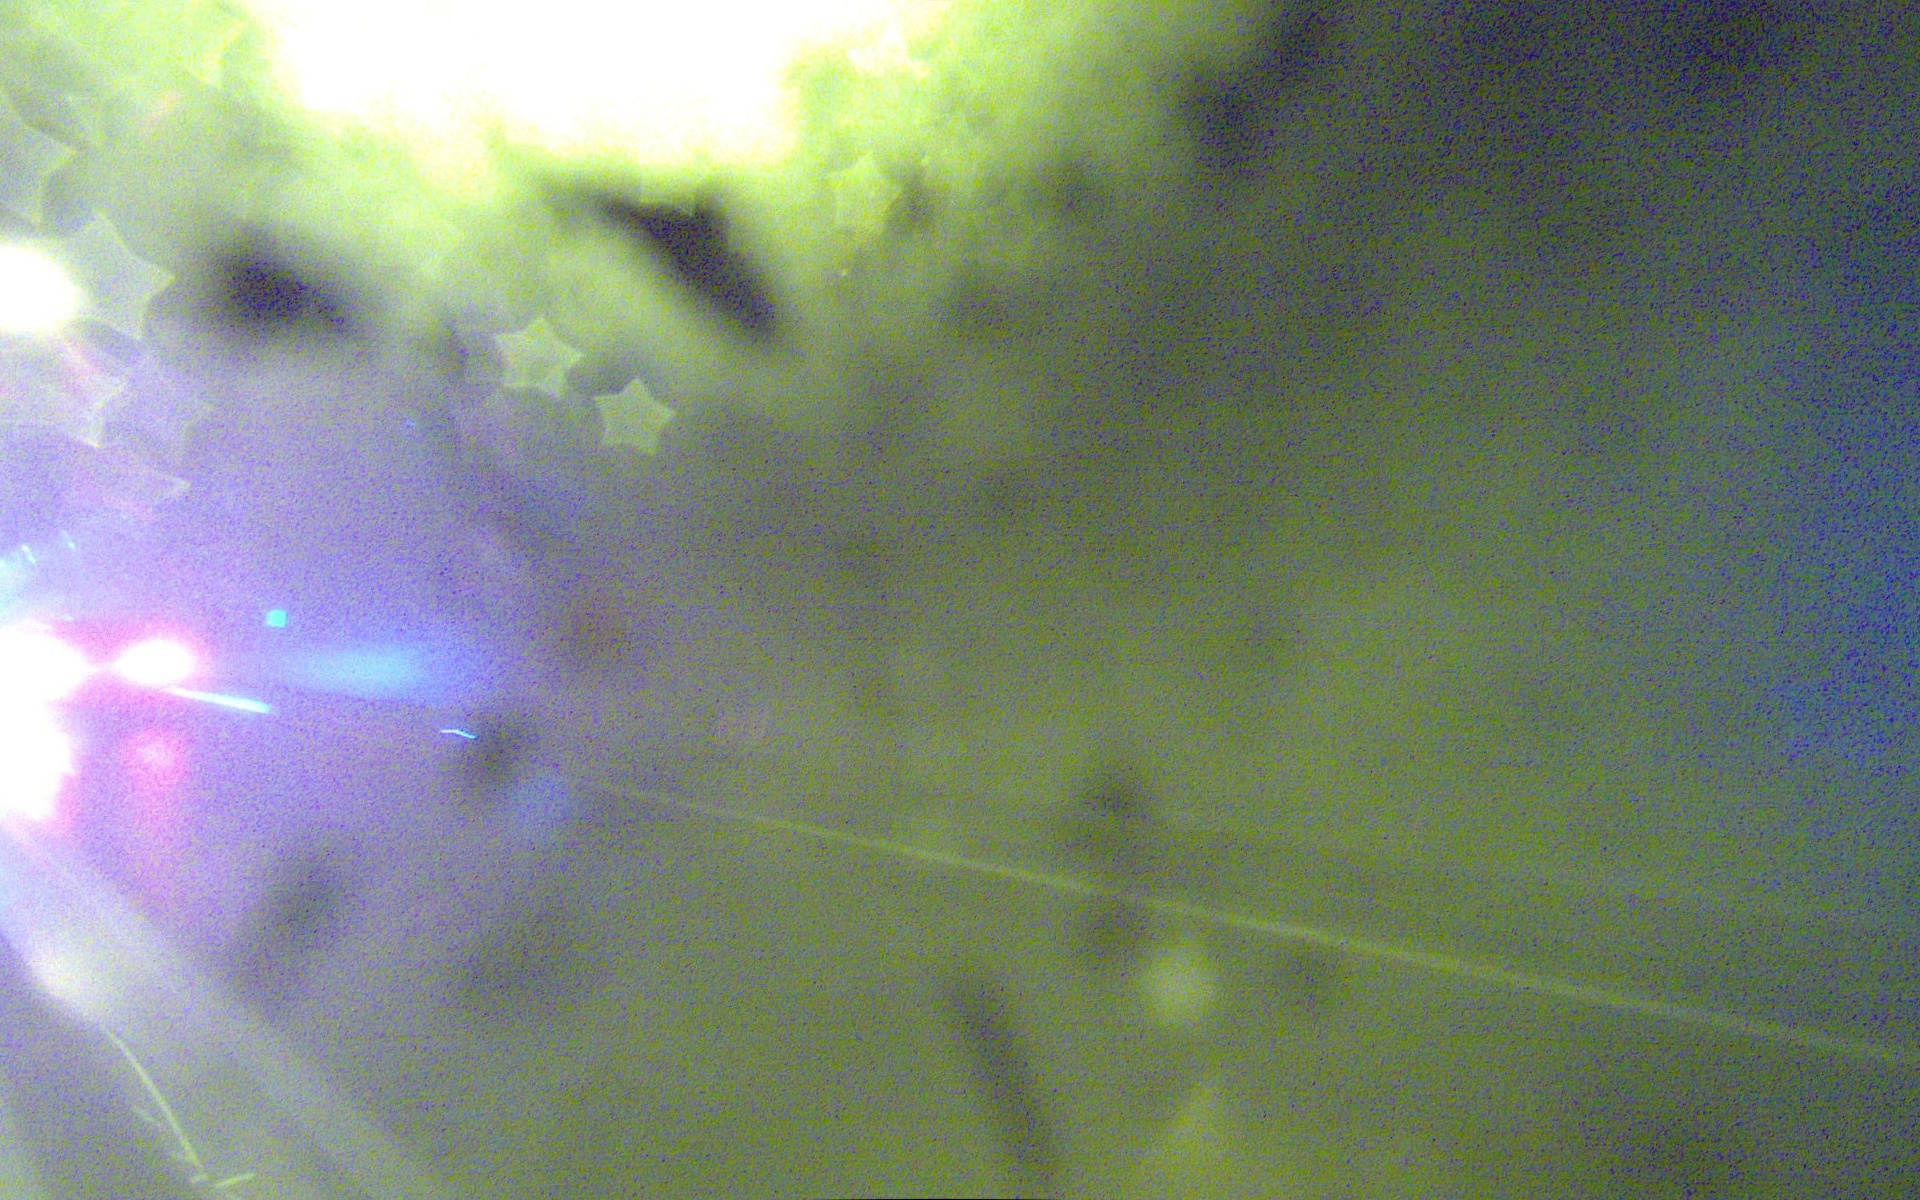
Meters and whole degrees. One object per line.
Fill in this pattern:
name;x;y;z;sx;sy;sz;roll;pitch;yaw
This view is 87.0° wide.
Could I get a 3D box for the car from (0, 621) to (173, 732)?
car;-13.327;1.116;15.069;4.292;1.419;1.758;-3;-6;42
